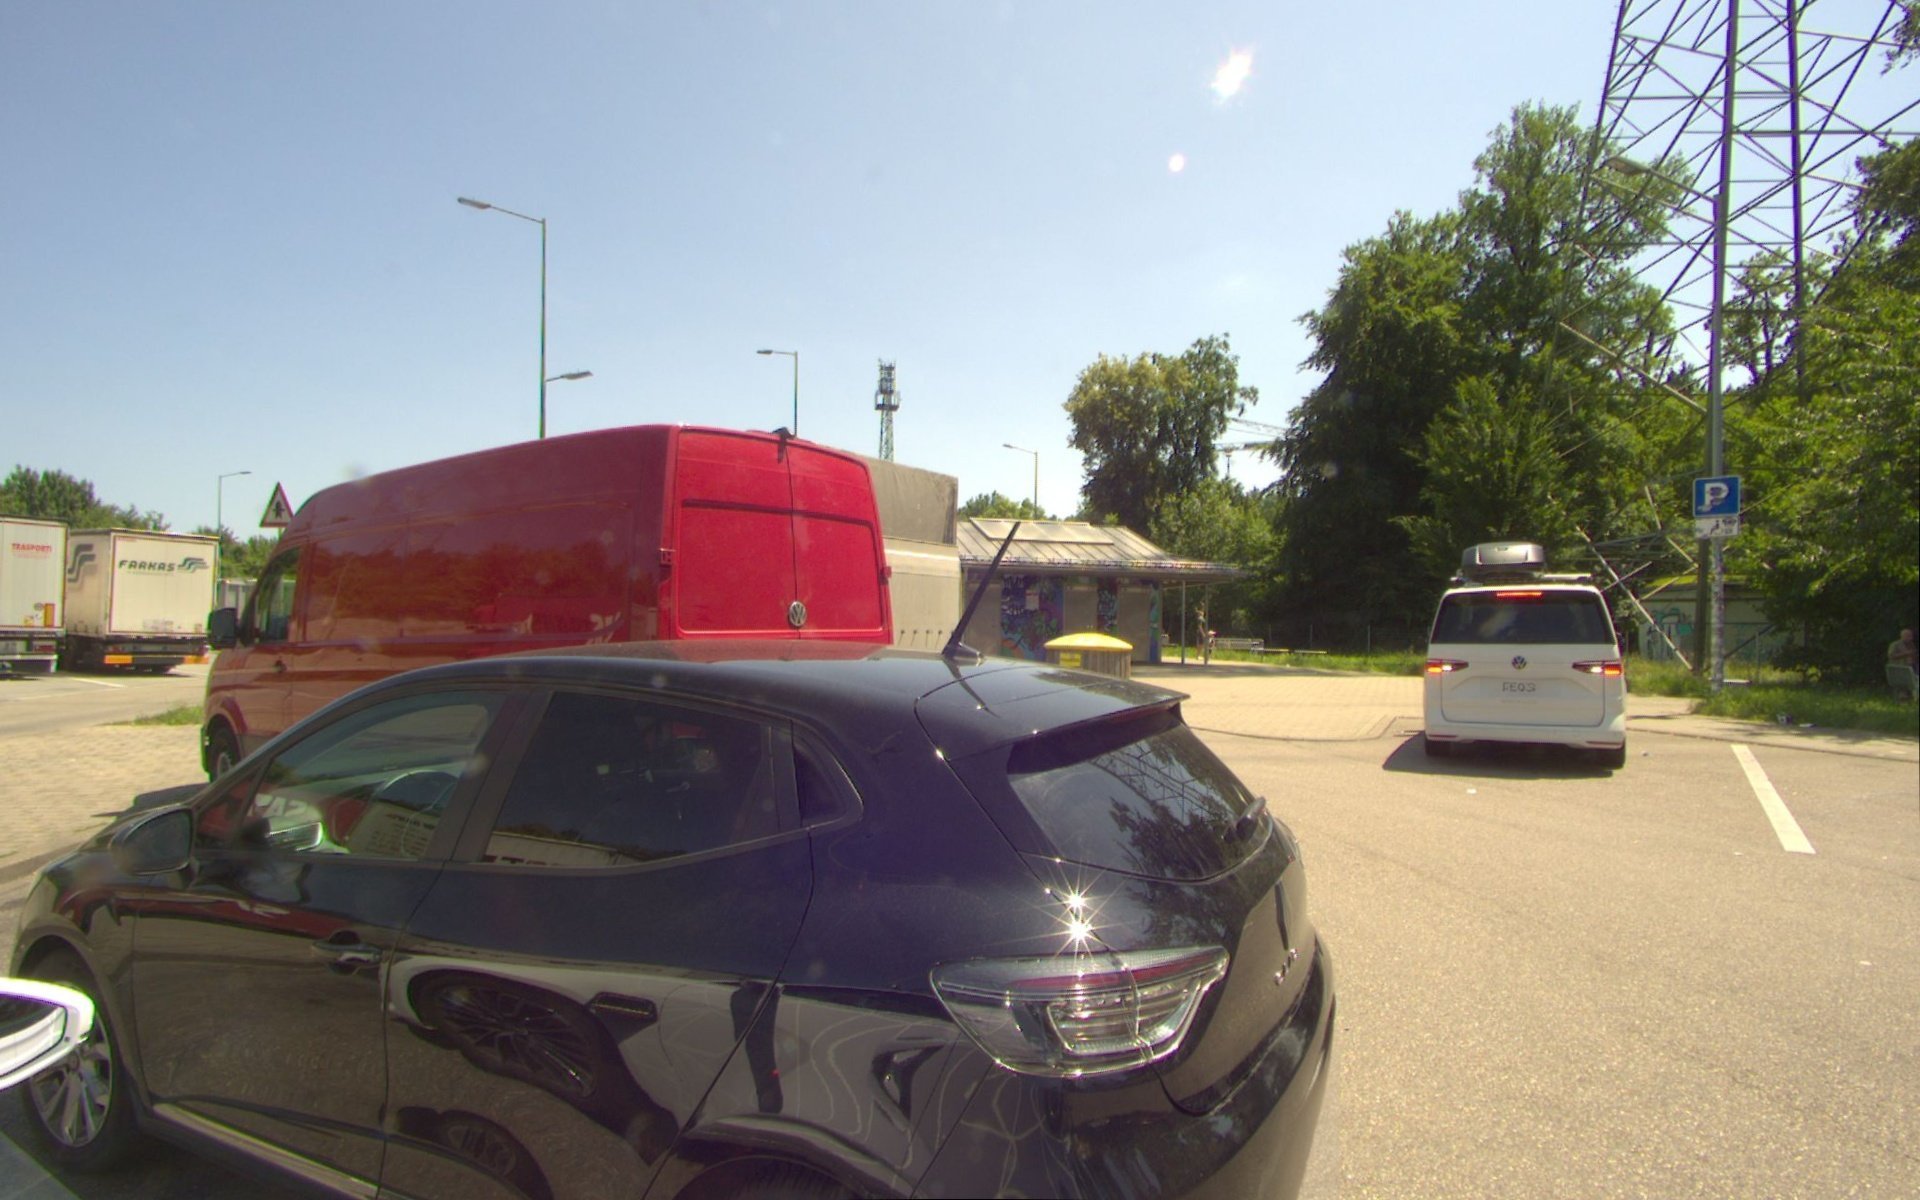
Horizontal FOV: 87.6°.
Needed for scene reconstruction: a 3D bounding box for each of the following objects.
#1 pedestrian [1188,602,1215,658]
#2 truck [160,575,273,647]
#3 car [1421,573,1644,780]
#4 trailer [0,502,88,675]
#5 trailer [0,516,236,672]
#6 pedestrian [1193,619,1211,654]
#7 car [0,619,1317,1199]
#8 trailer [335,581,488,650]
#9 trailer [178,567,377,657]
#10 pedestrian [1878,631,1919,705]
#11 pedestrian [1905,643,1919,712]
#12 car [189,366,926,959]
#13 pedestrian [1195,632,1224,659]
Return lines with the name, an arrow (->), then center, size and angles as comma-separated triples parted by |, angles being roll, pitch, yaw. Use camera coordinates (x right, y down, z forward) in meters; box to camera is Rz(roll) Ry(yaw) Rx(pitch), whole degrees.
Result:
pedestrian -> 8.889, 1.106, 36.882 | 0.764, 2.067, 0.645 | 0, -1, -16
truck -> -37.688, 0.571, 50.740 | 5.405, 3.407, 2.847 | 1, -2, 34
car -> 6.526, 0.769, 11.839 | 1.881, 1.937, 4.549 | -1, -1, 26
trailer -> -28.964, -0.366, 28.149 | 13.523, 4.185, 2.835 | 1, -2, 33
trailer -> -27.655, -0.188, 31.629 | 13.523, 4.185, 2.835 | 1, -2, 33
pedestrian -> 10.984, 1.651, 45.464 | 0.633, 1.547, 0.565 | 0, -1, -8
car -> -1.059, 0.837, 2.904 | 3.757, 1.501, 1.736 | 0, -1, 27
trailer -> -36.041, 0.917, 65.434 | 13.530, 4.101, 2.833 | 1, -2, 34
trailer -> -32.379, 0.487, 47.140 | 13.530, 3.764, 2.834 | 1, -2, 34
pedestrian -> 18.532, 1.315, 19.641 | 0.660, 1.422, 0.647 | -1, -1, 33
pedestrian -> 17.194, 1.354, 17.472 | 0.876, 1.192, 0.666 | -1, -2, 32
car -> -3.351, 0.312, 7.355 | 6.310, 2.731, 2.060 | 0, -1, 37
pedestrian -> 8.875, 1.624, 35.651 | 0.764, 0.960, 0.645 | 0, -1, -16
